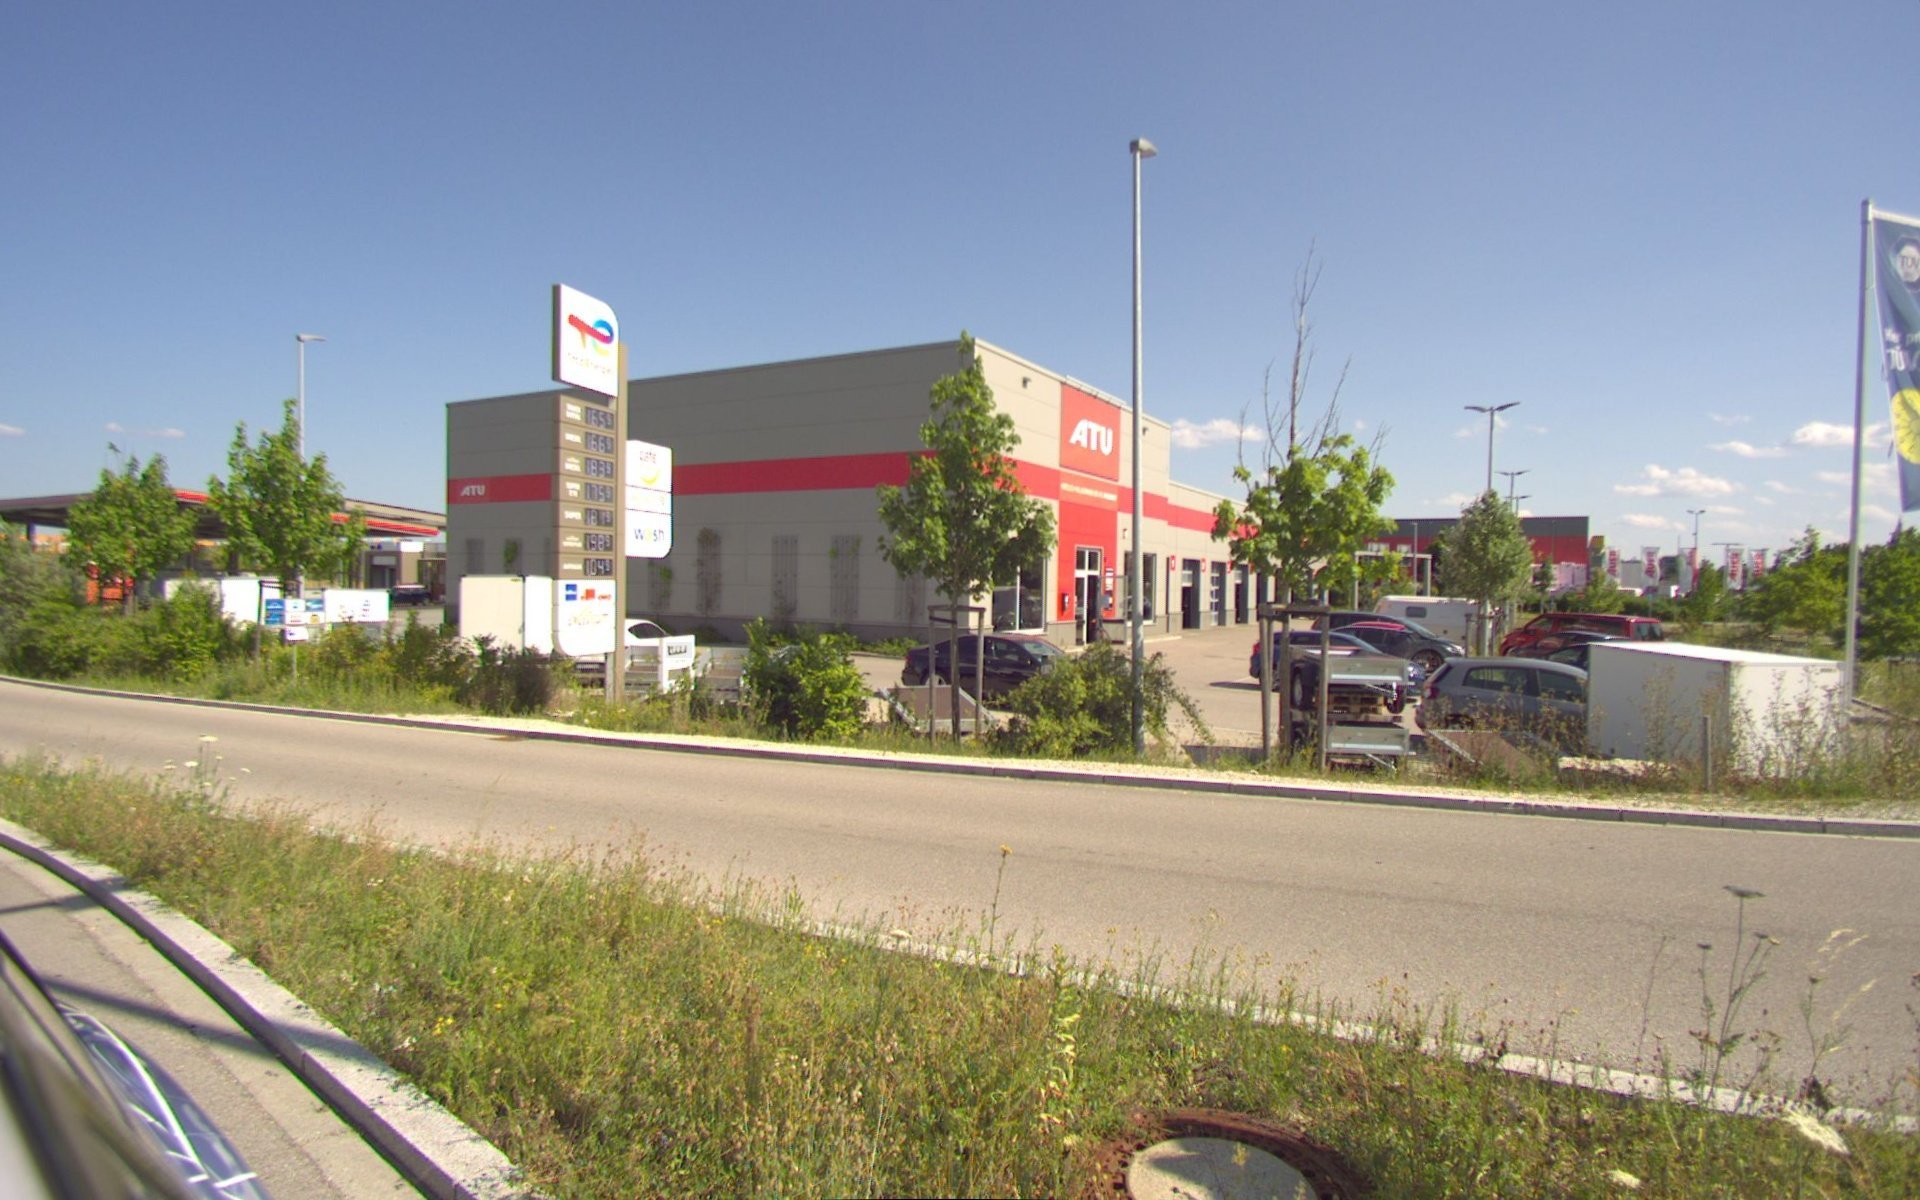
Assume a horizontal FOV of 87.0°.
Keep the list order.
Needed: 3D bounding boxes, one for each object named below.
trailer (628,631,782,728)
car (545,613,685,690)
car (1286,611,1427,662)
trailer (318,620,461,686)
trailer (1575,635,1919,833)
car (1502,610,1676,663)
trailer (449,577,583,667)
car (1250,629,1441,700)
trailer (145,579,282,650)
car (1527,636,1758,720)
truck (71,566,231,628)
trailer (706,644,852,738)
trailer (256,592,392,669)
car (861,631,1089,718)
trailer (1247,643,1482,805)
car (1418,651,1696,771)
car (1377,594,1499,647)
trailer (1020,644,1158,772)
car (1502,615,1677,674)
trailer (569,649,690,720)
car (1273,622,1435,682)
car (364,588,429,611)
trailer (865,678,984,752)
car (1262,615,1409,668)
[{"bbox_3d":[-4.647,1.393,18.843,1.533,1.495,3.179,0,1,12],"label":"trailer"},{"bbox_3d":[-7.941,1.140,23.695,1.697,1.548,3.995,0,1,4],"label":"car"},{"bbox_3d":[12.857,1.141,32.869,3.990,1.475,1.804,0,1,34],"label":"car"},{"bbox_3d":[-15.332,1.384,27.411,1.580,1.521,3.594,-1,1,6],"label":"trailer"},{"bbox_3d":[9.631,1.471,12.467,1.782,1.785,3.698,-1,2,-1],"label":"trailer"},{"bbox_3d":[20.002,1.108,32.387,1.794,1.475,4.470,-1,1,-25],"label":"car"},{"bbox_3d":[-10.585,0.480,24.378,1.724,2.029,3.238,0,1,2],"label":"trailer"},{"bbox_3d":[9.005,1.449,23.708,3.983,1.475,1.807,0,-2,29],"label":"car"},{"bbox_3d":[-22.539,0.403,30.704,1.969,2.029,3.211,0,1,-6],"label":"trailer"},{"bbox_3d":[15.569,1.719,23.340,1.794,1.475,4.014,2,1,-25],"label":"car"},{"bbox_3d":[-46.614,-0.199,58.575,2.624,3.343,6.854,0,1,22],"label":"truck"},{"bbox_3d":[-3.129,1.541,17.948,1.378,1.332,2.895,0,1,17],"label":"trailer"},{"bbox_3d":[-17.772,0.817,28.415,1.976,2.029,2.732,0,1,6],"label":"trailer"},{"bbox_3d":[0.250,1.459,20.960,4.486,1.495,1.783,0,0,34],"label":"car"},{"bbox_3d":[5.537,1.616,14.377,1.782,1.785,3.697,0,1,-1],"label":"trailer"},{"bbox_3d":[9.618,1.704,16.523,3.731,1.563,1.725,0,1,32],"label":"car"},{"bbox_3d":[19.268,0.797,40.850,4.332,2.029,1.884,0,1,30],"label":"car"},{"bbox_3d":[1.947,1.628,16.319,1.684,1.462,3.698,0,3,-1],"label":"trailer"},{"bbox_3d":[18.254,1.230,29.556,1.794,1.475,4.013,-1,1,-25],"label":"car"},{"bbox_3d":[-6.250,1.562,19.371,1.303,1.094,2.773,0,1,3],"label":"trailer"},{"bbox_3d":[11.148,1.423,28.696,3.990,1.475,1.804,0,1,34],"label":"car"},{"bbox_3d":[-39.692,-0.070,71.375,1.694,1.586,3.637,0,1,39],"label":"car"},{"bbox_3d":[-0.535,1.896,17.148,1.841,0.888,2.837,0,1,1],"label":"trailer"},{"bbox_3d":[11.611,1.239,31.350,3.990,1.475,1.804,0,1,34],"label":"car"}]
